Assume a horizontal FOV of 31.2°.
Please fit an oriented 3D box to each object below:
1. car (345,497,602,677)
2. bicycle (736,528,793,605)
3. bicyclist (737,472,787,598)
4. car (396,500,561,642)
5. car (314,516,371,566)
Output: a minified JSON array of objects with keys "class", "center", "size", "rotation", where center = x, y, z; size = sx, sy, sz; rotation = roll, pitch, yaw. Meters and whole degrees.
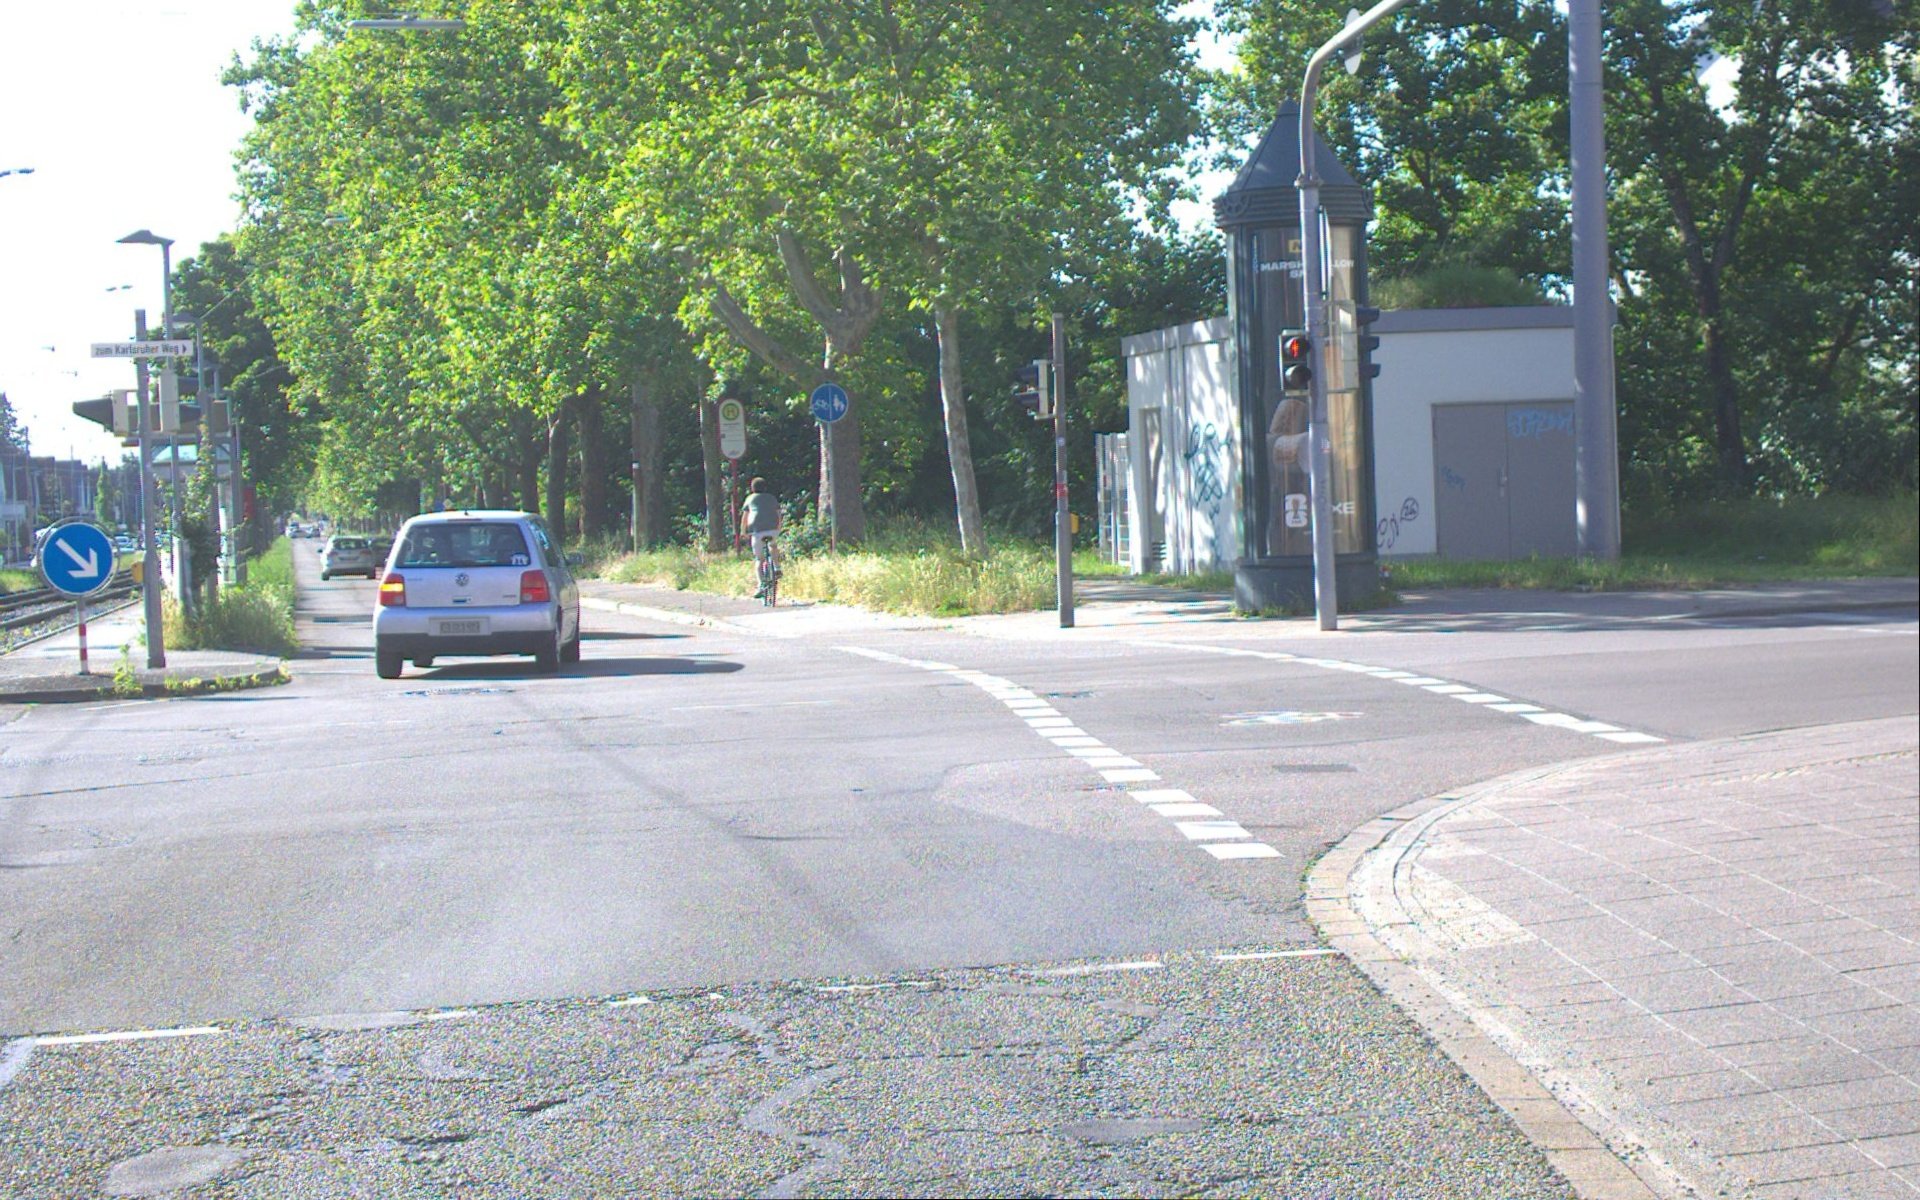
[{"class":"car","center":[-4.330,-0.149,31.091],"size":[1.867,1.481,3.556],"rotation":[-2,1,-2]},{"class":"bicycle","center":[-2.790,-0.489,48.997],"size":[0.536,1.062,1.434],"rotation":[-3,2,-13]},{"class":"bicyclist","center":[-2.830,-0.931,49.079],"size":[0.534,1.763,0.713],"rotation":[-3,1,-13]},{"class":"car","center":[-5.974,-0.383,42.394],"size":[1.750,1.599,3.751],"rotation":[-3,2,-11]},{"class":"car","center":[-21.080,-2.013,117.209],"size":[1.750,1.599,3.582],"rotation":[-3,2,-12]}]
